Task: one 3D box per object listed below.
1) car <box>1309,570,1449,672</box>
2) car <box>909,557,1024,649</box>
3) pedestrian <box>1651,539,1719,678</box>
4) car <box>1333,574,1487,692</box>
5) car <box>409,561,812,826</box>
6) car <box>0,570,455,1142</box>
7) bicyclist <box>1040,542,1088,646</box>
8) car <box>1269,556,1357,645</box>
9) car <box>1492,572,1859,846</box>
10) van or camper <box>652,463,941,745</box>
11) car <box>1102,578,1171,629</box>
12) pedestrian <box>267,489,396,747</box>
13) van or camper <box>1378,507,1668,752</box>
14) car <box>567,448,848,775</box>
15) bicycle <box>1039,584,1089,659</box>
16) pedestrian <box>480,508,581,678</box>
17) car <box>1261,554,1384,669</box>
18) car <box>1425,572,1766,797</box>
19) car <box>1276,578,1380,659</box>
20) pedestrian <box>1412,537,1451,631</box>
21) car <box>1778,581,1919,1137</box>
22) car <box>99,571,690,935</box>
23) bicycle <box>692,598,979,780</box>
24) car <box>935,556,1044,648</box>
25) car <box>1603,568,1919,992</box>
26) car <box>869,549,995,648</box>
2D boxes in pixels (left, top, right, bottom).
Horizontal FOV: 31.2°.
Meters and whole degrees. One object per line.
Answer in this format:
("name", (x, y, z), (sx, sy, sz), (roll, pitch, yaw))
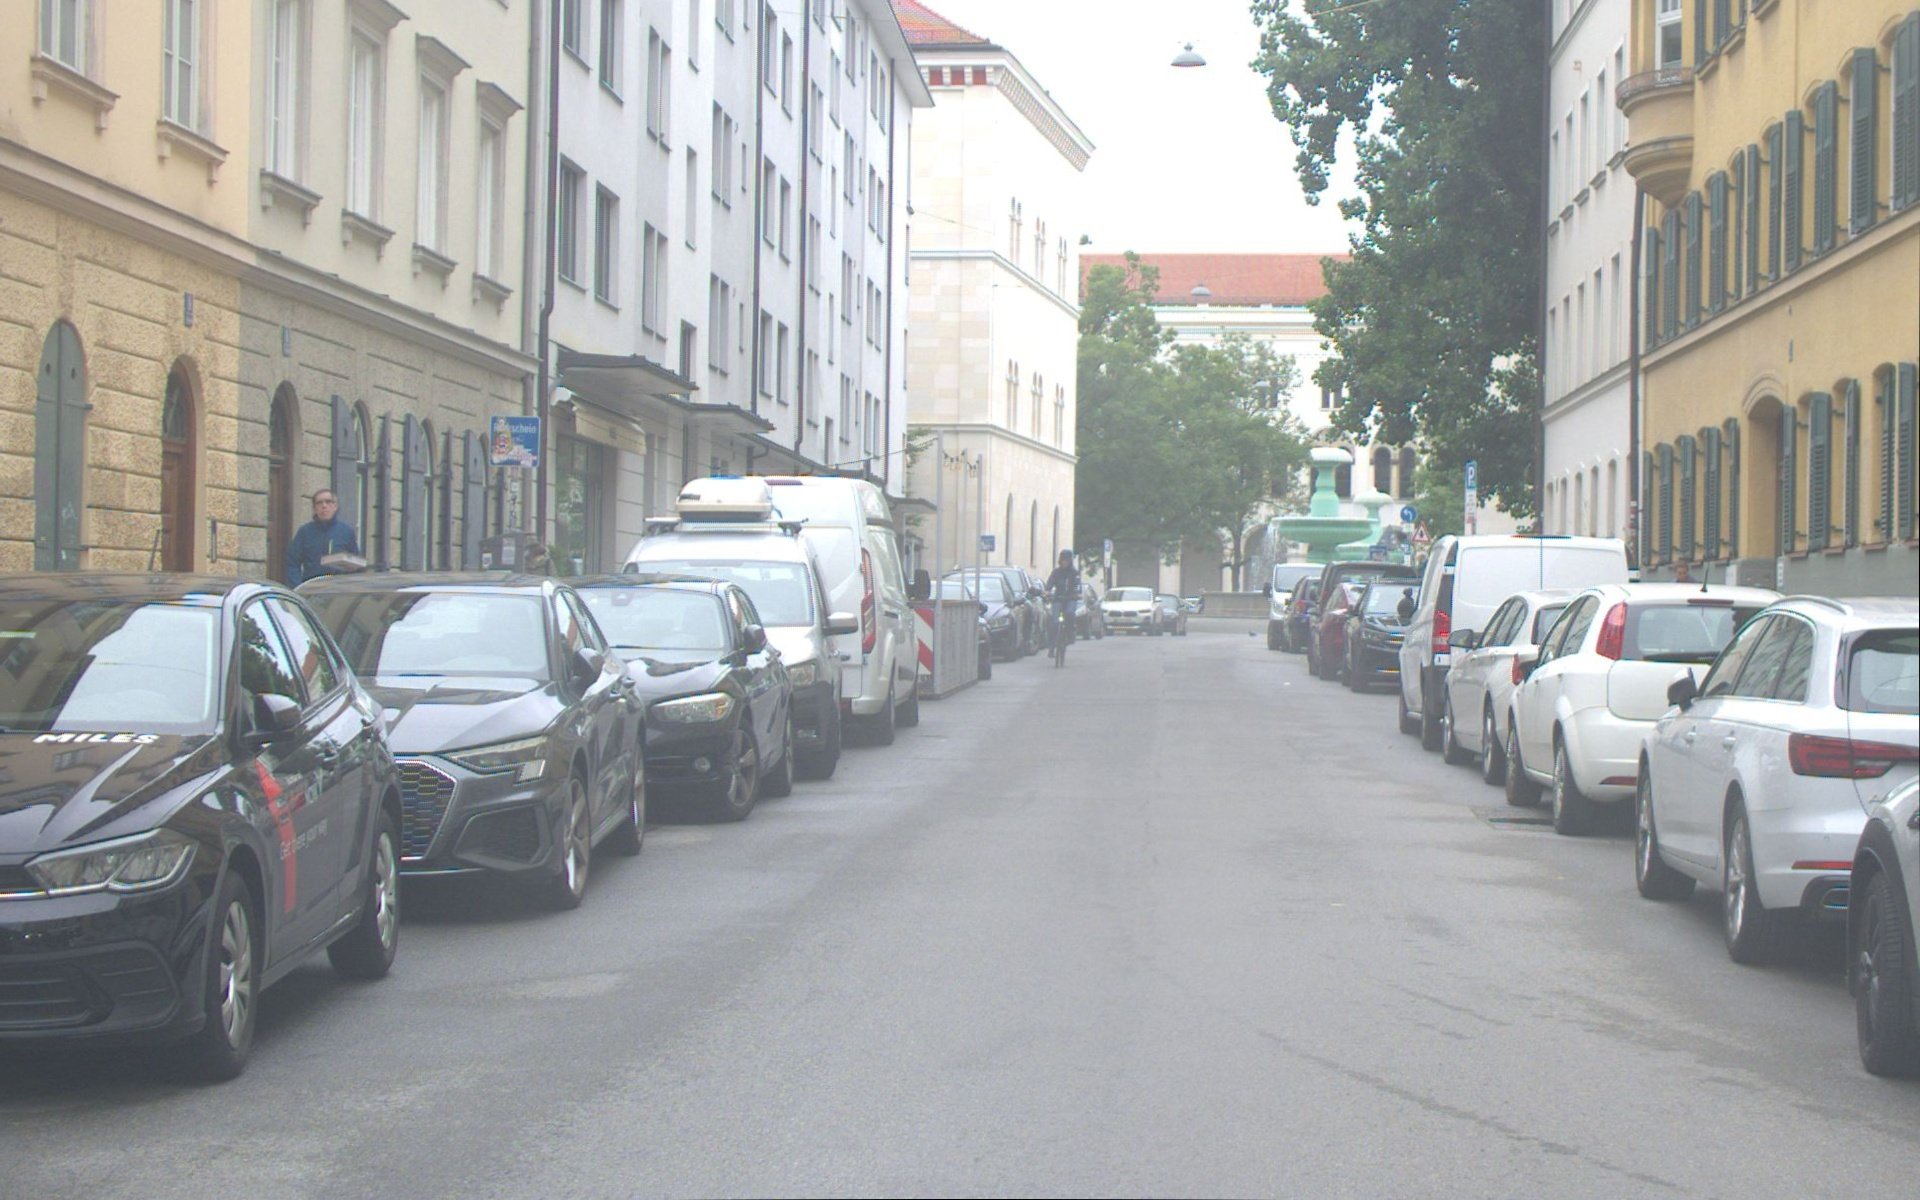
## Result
("car", (6.206, 0.292, 51.294), (1.713, 1.419, 4.457), (1, 0, 3))
("car", (0.144, 0.022, 59.910), (1.773, 1.534, 4.159), (0, 1, 3))
("pedestrian", (8.711, 0.100, 41.344), (0.597, 1.633, 0.896), (-2, 1, 2))
("car", (5.939, 0.409, 45.736), (1.746, 1.459, 4.000), (1, 1, 4))
("car", (-2.023, 0.497, 21.103), (1.857, 1.397, 4.269), (2, 1, 2))
("car", (-2.935, 0.629, 10.900), (1.857, 1.397, 4.269), (2, 1, 2))
("bicyclist", (1.661, -0.103, 54.773), (0.686, 1.622, 0.853), (2, 0, 3))
("car", (8.018, 0.011, 78.017), (1.882, 1.918, 4.873), (1, 0, 6))
("car", (4.306, 0.594, 21.176), (1.623, 1.504, 3.761), (1, 1, 3))
("van or camper", (-1.386, -0.001, 31.504), (1.994, 2.303, 5.478), (2, 1, 4))
("car", (5.540, 0.123, 107.488), (1.779, 1.529, 4.210), (0, -1, 8))
("pedestrian", (-4.994, 0.135, 27.355), (0.805, 2.007, 0.750), (1, 0, 5))
("van or camper", (5.017, 0.221, 31.319), (1.994, 2.007, 5.232), (1, 1, 3))
("car", (-1.813, 0.057, 25.951), (1.857, 2.194, 4.562), (2, 1, -2))
("bicycle", (1.667, 0.330, 54.744), (0.732, 1.147, 1.999), (1, 0, 3))
("pedestrian", (-4.410, -0.077, 35.364), (0.805, 1.706, 1.021), (1, 1, 5))
("car", (6.084, 0.190, 58.093), (1.847, 1.770, 4.200), (3, 0, 4))
("car", (4.669, 0.559, 25.866), (1.816, 1.504, 4.587), (1, 1, 2))
("car", (7.666, 0.365, 71.919), (1.808, 1.595, 4.215), (2, 0, 2))
("pedestrian", (11.262, -0.385, 82.062), (0.793, 2.190, 0.813), (2, 0, 4))
("car", (3.481, 0.725, 8.993), (1.717, 1.504, 3.936), (1, 1, 0))
("car", (-2.444, 0.596, 15.947), (1.857, 1.397, 4.269), (2, 1, 2))
("bicycle", (-0.724, 0.507, 19.996), (1.631, 1.038, 0.348), (0, 0, 14))
("car", (0.597, 0.004, 65.391), (1.872, 1.682, 4.520), (0, 1, 3))
("car", (3.865, 0.634, 14.497), (1.717, 1.504, 4.468), (1, 1, 4))
("car", (-0.436, -0.049, 49.322), (1.638, 1.350, 4.059), (0, 1, -3))
